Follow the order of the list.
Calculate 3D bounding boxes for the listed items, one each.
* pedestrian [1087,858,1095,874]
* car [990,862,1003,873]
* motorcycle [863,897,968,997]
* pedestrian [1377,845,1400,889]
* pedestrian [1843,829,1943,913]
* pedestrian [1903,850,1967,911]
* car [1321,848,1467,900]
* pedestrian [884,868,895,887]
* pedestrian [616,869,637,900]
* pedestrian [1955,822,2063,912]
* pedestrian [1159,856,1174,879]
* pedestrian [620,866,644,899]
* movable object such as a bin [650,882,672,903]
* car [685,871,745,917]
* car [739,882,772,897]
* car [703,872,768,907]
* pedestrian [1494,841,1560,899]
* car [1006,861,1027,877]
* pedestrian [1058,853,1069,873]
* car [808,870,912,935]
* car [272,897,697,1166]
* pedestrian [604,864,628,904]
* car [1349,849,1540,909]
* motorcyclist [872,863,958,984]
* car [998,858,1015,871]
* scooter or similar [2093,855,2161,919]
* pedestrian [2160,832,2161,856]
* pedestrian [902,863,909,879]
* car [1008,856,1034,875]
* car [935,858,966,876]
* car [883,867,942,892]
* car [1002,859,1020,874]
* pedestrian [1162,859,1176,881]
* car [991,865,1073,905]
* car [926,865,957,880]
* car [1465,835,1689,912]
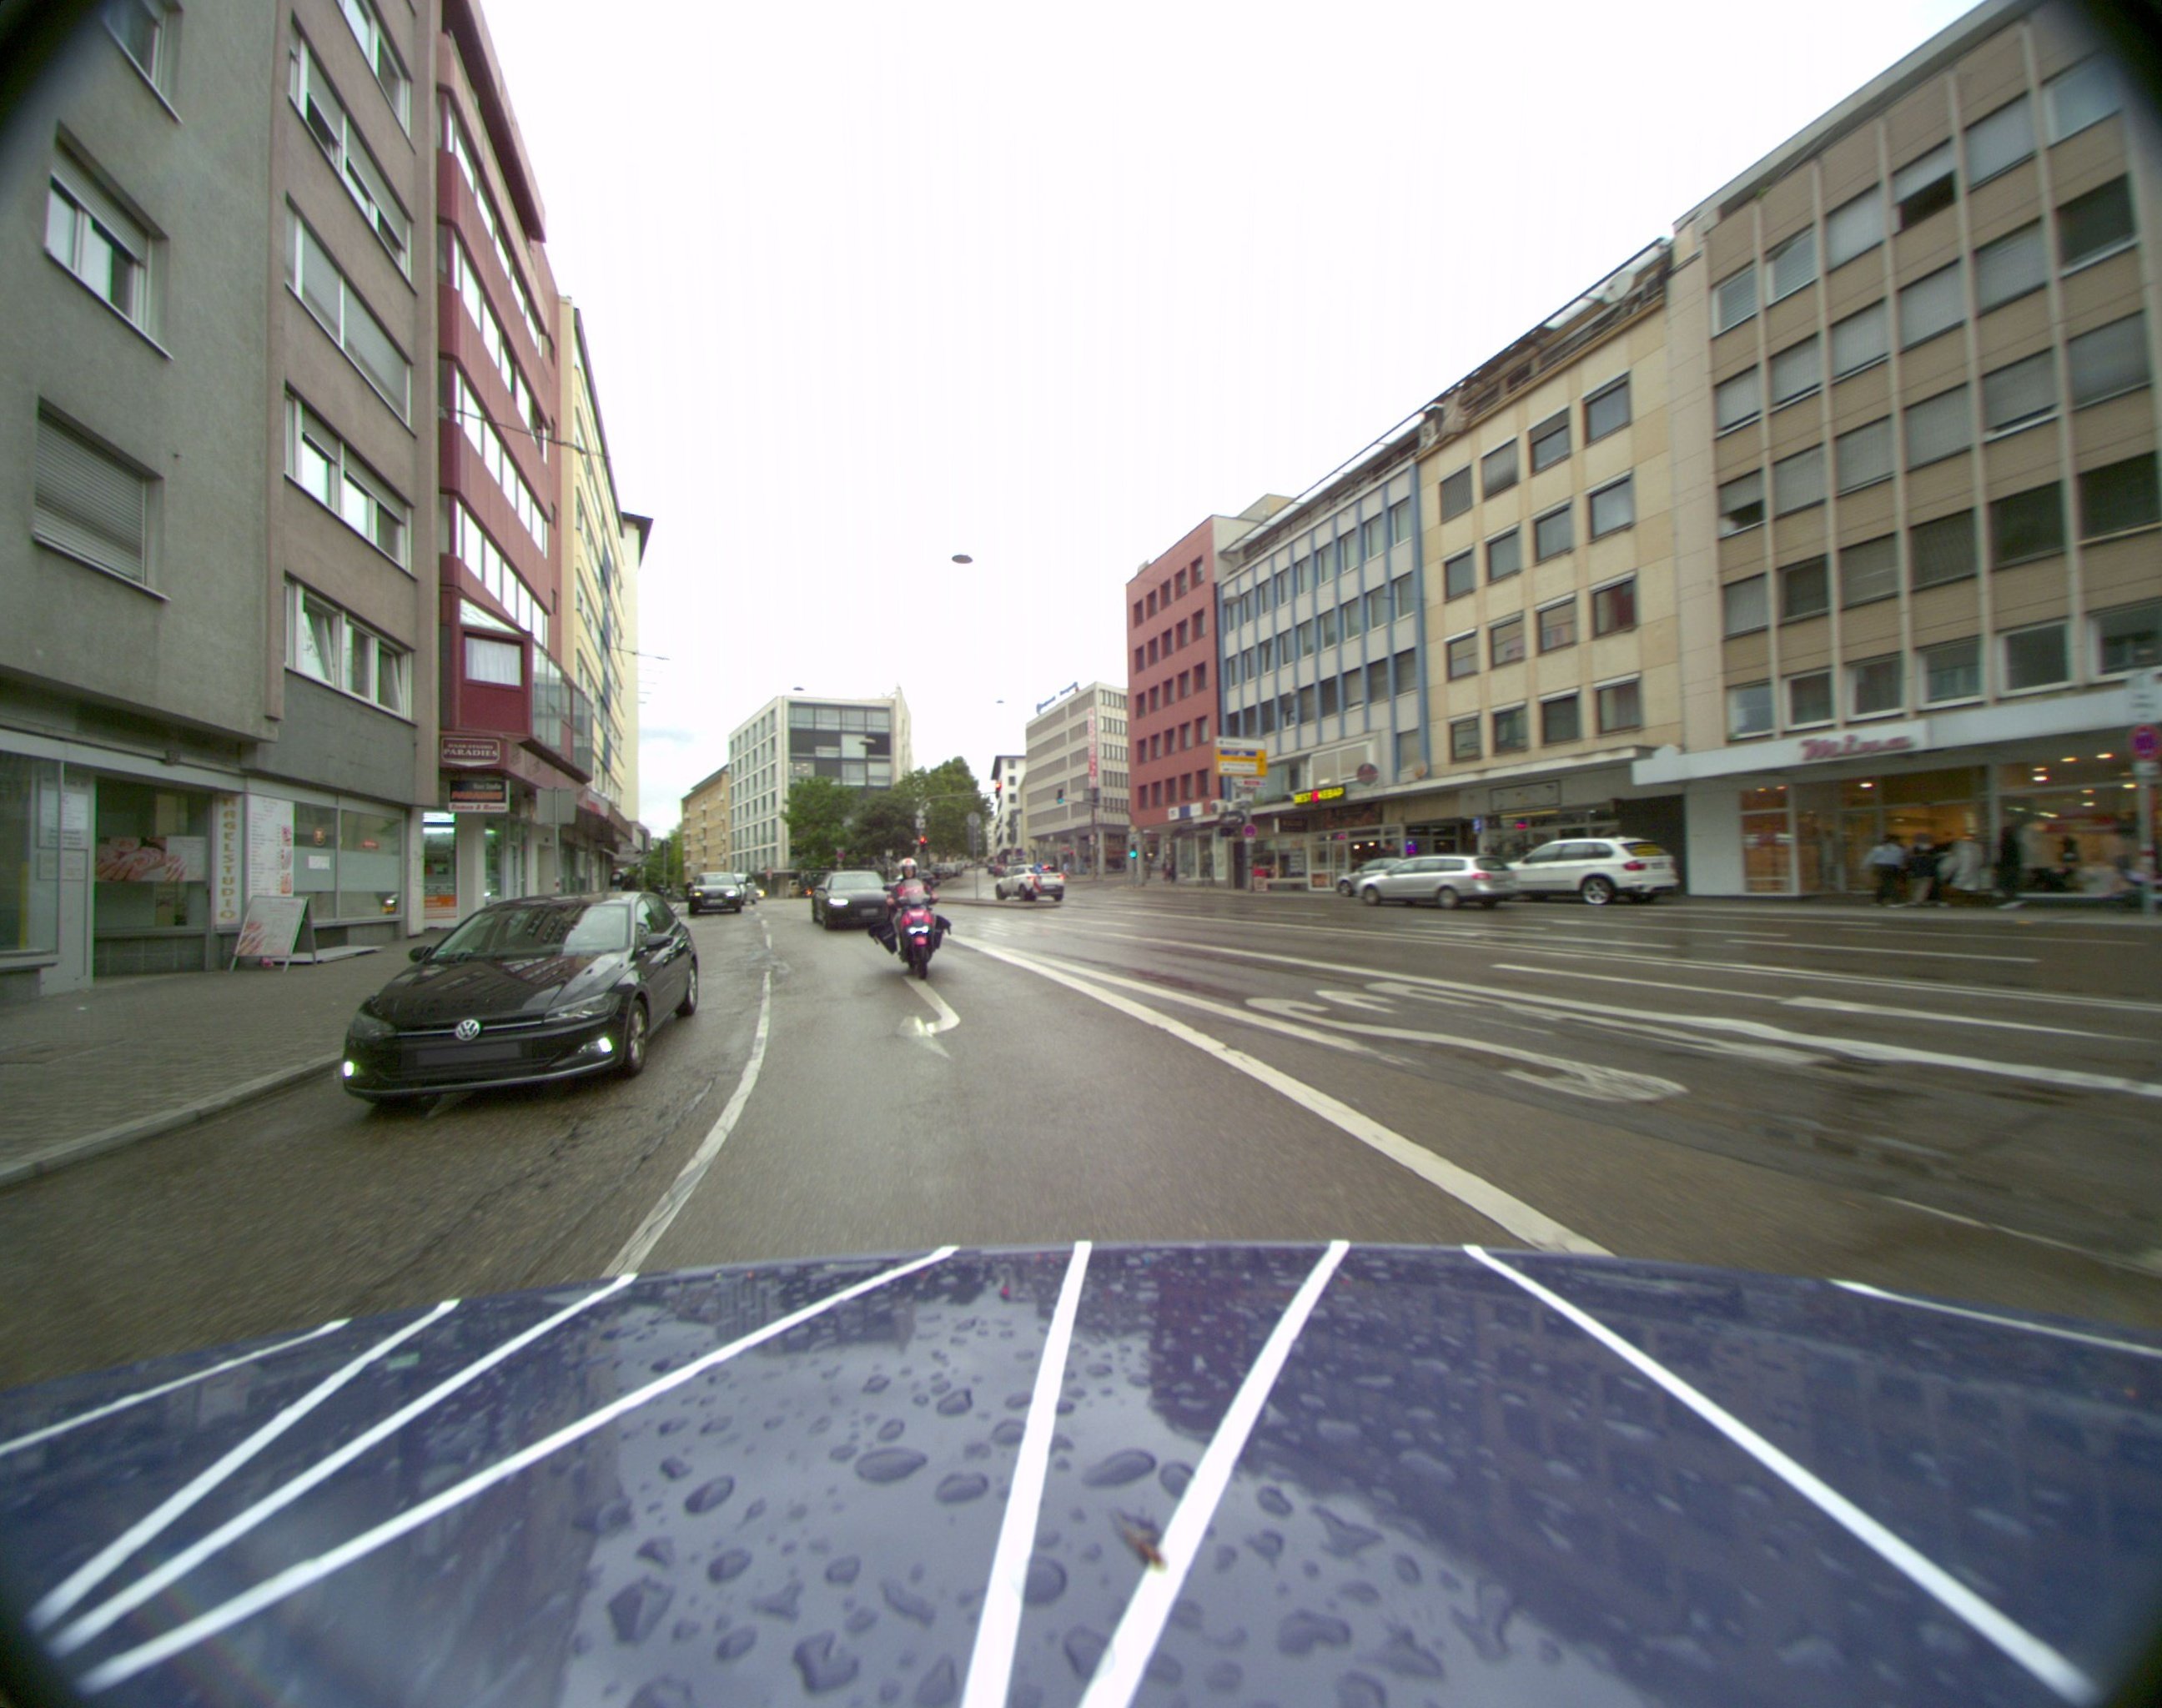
[{"bbox_3d":[1.085,1.273,79.838,0.715,1.613,0.723,-2,0,-5],"label":"pedestrian"},{"bbox_3d":[-14.599,2.359,130.943,2.027,1.830,4.043,-3,-1,-8],"label":"car"},{"bbox_3d":[-2.436,1.274,11.055,1.314,1.128,2.182,-2,0,-14],"label":"motorcycle"},{"bbox_3d":[12.086,0.521,29.856,0.447,1.698,0.583,-3,0,-22],"label":"pedestrian"},{"bbox_3d":[17.536,0.372,16.438,0.955,1.703,1.089,-3,-1,-14],"label":"pedestrian"},{"bbox_3d":[18.214,0.556,16.213,0.536,1.242,0.719,-3,0,-24],"label":"pedestrian"},{"bbox_3d":[10.907,0.691,26.930,1.873,1.599,4.872,-2,0,-22],"label":"car"},{"bbox_3d":[-19.104,2.356,75.805,0.790,1.802,0.592,-3,-1,-32],"label":"pedestrian"},{"bbox_3d":[-25.850,1.729,43.205,0.617,1.752,0.788,-3,0,-3],"label":"pedestrian"},{"bbox_3d":[18.479,0.259,15.148,0.956,1.685,1.085,-3,-1,-25],"label":"pedestrian"},{"bbox_3d":[6.698,1.092,59.420,0.731,1.737,0.744,-4,-1,38],"label":"pedestrian"},{"bbox_3d":[-23.747,1.505,40.166,0.754,1.712,0.753,-3,0,-3],"label":"pedestrian"},{"bbox_3d":[-19.670,1.805,35.586,0.531,0.928,0.673,2,-3,12],"label":"movable object such as a bin"},{"bbox_3d":[-14.044,1.490,29.308,1.874,1.538,4.096,-3,0,-24],"label":"car"},{"bbox_3d":[-30.024,3.302,70.072,1.979,1.379,3.991,1,-3,-35],"label":"car"},{"bbox_3d":[-17.262,1.736,38.173,2.000,1.574,4.100,-3,-1,-12],"label":"car"},{"bbox_3d":[13.991,0.510,23.887,0.956,1.708,1.416,-3,-1,-24],"label":"pedestrian"},{"bbox_3d":[-7.127,1.670,83.340,2.002,1.621,4.612,-3,-1,-7],"label":"car"},{"bbox_3d":[-1.793,0.941,77.489,0.994,2.002,0.947,-2,0,-8],"label":"pedestrian"},{"bbox_3d":[-6.174,1.222,20.831,2.002,1.482,4.725,-2,0,-25],"label":"car"},{"bbox_3d":[-4.687,1.197,6.728,1.745,1.422,3.874,-1,0,-19],"label":"car"},{"bbox_3d":[-20.712,1.338,33.853,0.840,1.753,0.616,3,-5,-31],"label":"pedestrian"},{"bbox_3d":[10.037,0.671,21.451,1.793,1.437,4.745,-2,0,-26],"label":"car"},{"bbox_3d":[-2.400,0.959,10.930,1.094,1.595,0.952,-3,0,-15],"label":"motorcyclist"},{"bbox_3d":[-10.283,1.436,104.349,1.934,1.662,4.443,-3,-1,-10],"label":"car"},{"bbox_3d":[18.400,0.554,13.272,0.739,1.048,0.700,-3,1,-24],"label":"scooter or similar"},{"bbox_3d":[18.762,0.326,12.460,0.669,1.475,1.063,-3,-1,-24],"label":"pedestrian"},{"bbox_3d":[-21.035,2.036,91.158,0.593,1.802,0.704,-4,-1,-7],"label":"pedestrian"},{"bbox_3d":[-7.087,1.345,89.095,2.098,2.078,4.609,-3,-1,-15],"label":"car"},{"bbox_3d":[-18.617,1.813,108.597,3.831,2.252,1.986,-3,1,7],"label":"car"},{"bbox_3d":[-12.868,1.943,58.254,1.995,1.673,4.008,-3,0,36],"label":"car"},{"bbox_3d":[-9.070,1.659,97.700,2.027,1.739,4.612,-3,-1,-8],"label":"car"},{"bbox_3d":[6.683,1.241,57.857,0.693,1.620,0.735,-4,-1,40],"label":"pedestrian"},{"bbox_3d":[-2.280,1.389,34.120,2.003,1.542,4.420,-3,-1,-28],"label":"car"},{"bbox_3d":[-16.727,2.185,91.209,3.546,1.550,1.739,-3,1,-7],"label":"car"},{"bbox_3d":[13.430,0.530,20.997,1.857,1.816,4.955,-2,0,-22],"label":"car"}]
